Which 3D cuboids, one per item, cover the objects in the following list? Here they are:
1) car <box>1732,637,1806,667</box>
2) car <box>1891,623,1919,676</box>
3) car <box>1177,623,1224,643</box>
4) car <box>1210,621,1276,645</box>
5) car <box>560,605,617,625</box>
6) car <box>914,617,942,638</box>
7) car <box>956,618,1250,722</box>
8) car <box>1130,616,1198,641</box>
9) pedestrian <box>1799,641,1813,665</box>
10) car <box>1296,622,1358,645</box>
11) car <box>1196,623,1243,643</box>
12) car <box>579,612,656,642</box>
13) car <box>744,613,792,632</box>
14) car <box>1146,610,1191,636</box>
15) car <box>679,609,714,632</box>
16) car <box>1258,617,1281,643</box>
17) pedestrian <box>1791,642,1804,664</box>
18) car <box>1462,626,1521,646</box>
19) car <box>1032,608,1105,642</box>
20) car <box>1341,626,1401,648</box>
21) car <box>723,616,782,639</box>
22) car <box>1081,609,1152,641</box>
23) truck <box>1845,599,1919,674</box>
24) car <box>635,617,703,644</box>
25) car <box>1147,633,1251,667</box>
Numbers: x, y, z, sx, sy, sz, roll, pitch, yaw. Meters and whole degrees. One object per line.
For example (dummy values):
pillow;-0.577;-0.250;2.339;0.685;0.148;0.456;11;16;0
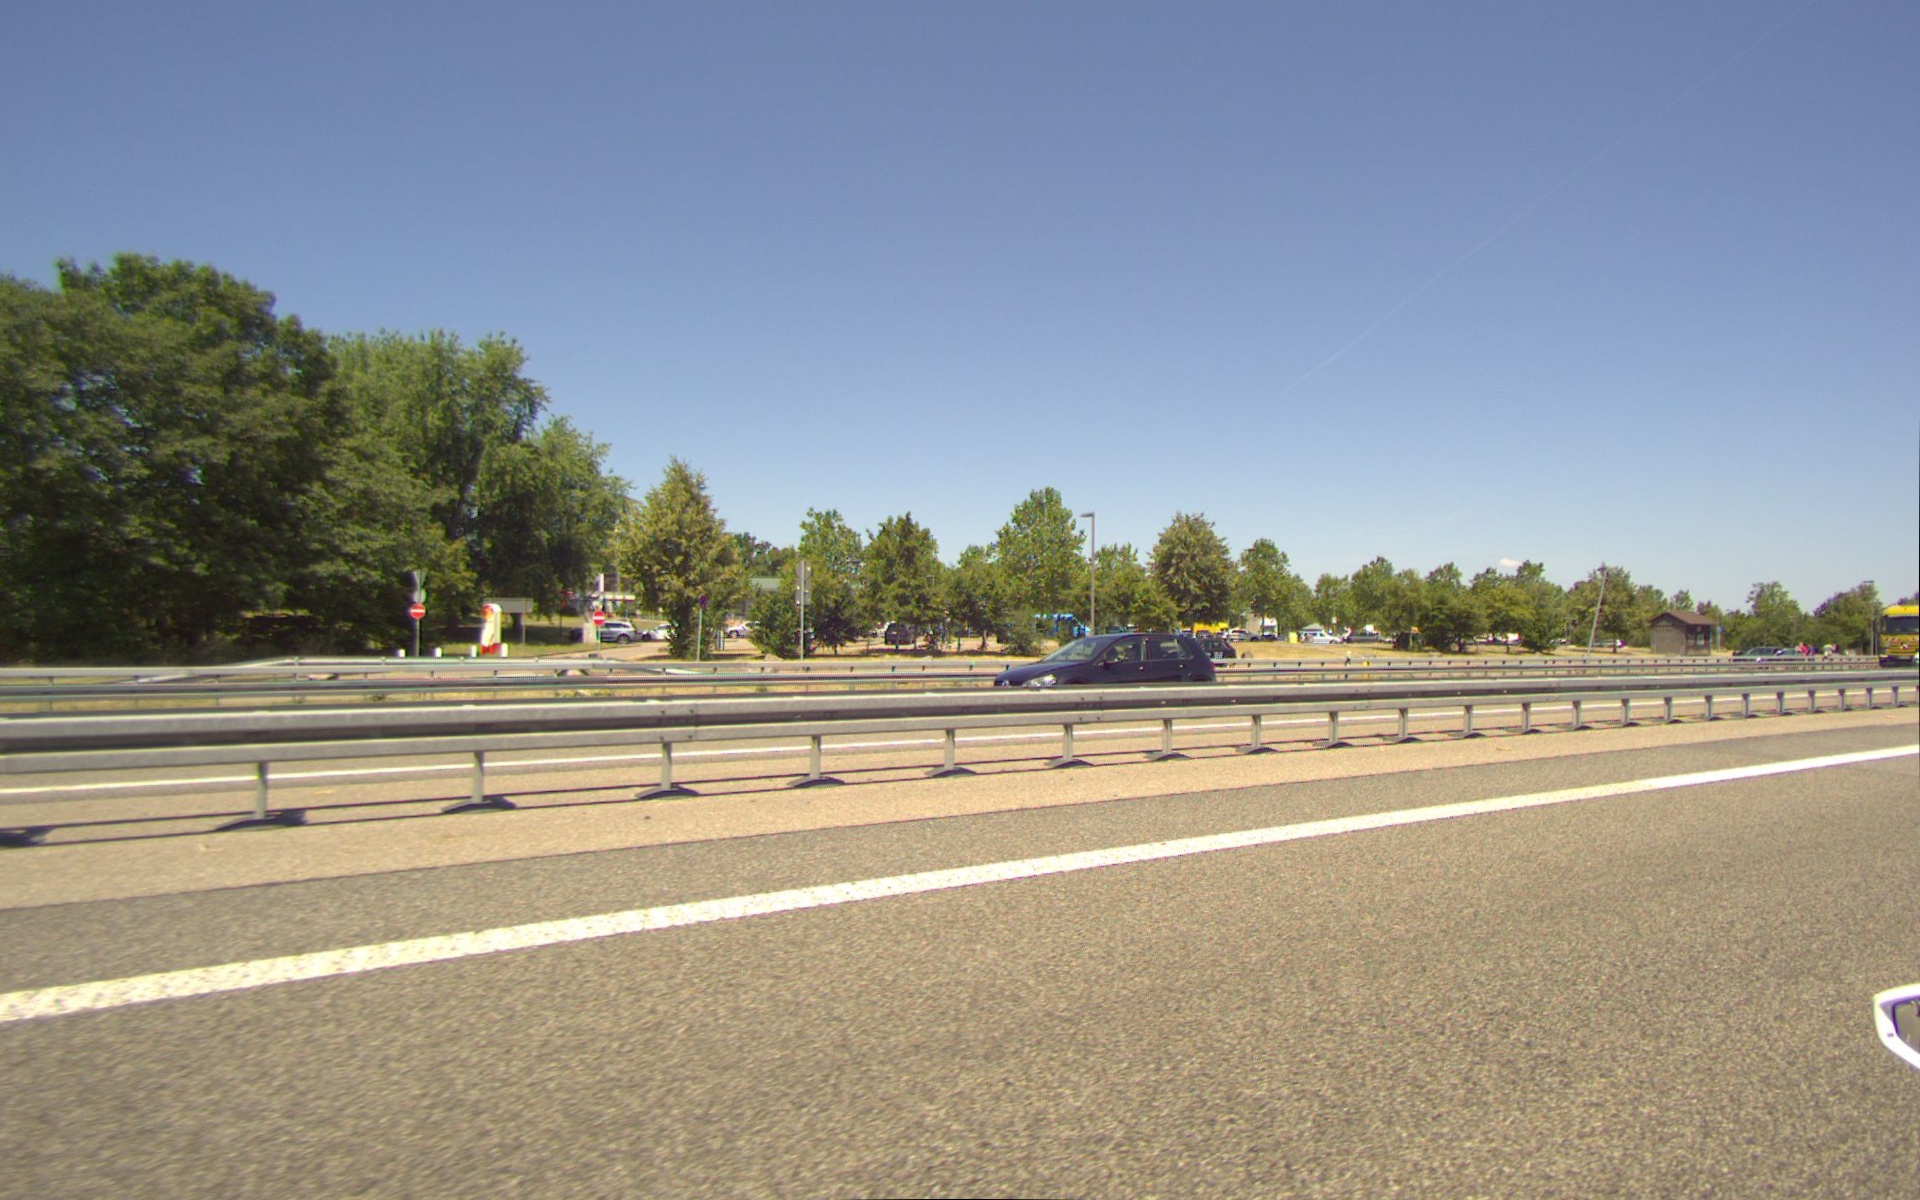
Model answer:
car;53.009;3.361;65.798;5.410;1.867;2.042;2;-2;-31
car;36.172;1.790;36.408;5.875;1.867;2.042;2;-2;-31
car;30.639;4.172;128.149;2.712;2.387;6.293;1;0;-21
car;28.604;3.298;101.404;6.086;2.153;2.476;1;0;23
car;-39.771;1.588;107.695;5.207;2.018;2.446;1;1;-43
car;-3.436;2.939;108.129;2.428;2.018;5.246;1;0;4
car;2.516;1.156;17.318;4.834;1.571;2.042;1;-3;-31
car;19.697;2.748;96.960;6.086;2.153;2.476;1;0;23
pedestrian;54.951;3.444;65.211;0.493;1.523;0.497;1;0;-21
car;39.006;3.528;106.784;6.086;2.153;2.476;1;0;23
car;33.340;4.231;129.235;2.712;2.387;6.293;1;0;-21
car;-24.515;1.918;72.044;5.163;2.018;2.467;1;0;-19
car;-21.953;2.555;114.752;5.163;2.018;2.467;1;0;-19
car;30.231;3.348;145.627;6.252;3.751;2.730;1;0;-31
car;-25.353;1.935;96.447;2.443;2.018;5.213;1;0;-24
car;41.458;3.997;134.395;2.698;3.220;6.325;1;0;18
pedestrian;54.283;3.429;65.118;0.491;1.441;0.499;1;0;27
car;64.758;4.398;122.527;6.086;2.153;2.476;1;0;23
car;9.774;2.210;90.610;6.086;2.786;2.476;1;0;23
car;45.372;4.076;110.987;6.086;2.153;2.476;1;0;23
car;-19.751;2.575;95.533;5.163;2.018;2.467;1;0;-19
car;14.634;2.319;93.694;6.086;2.786;2.476;1;0;23
truck;54.077;2.039;55.958;13.371;3.860;3.156;1;-2;-30
car;-23.349;2.478;80.563;5.163;2.018;2.467;1;0;-19
car;11.536;2.416;48.397;4.834;1.571;2.042;1;-3;-31
